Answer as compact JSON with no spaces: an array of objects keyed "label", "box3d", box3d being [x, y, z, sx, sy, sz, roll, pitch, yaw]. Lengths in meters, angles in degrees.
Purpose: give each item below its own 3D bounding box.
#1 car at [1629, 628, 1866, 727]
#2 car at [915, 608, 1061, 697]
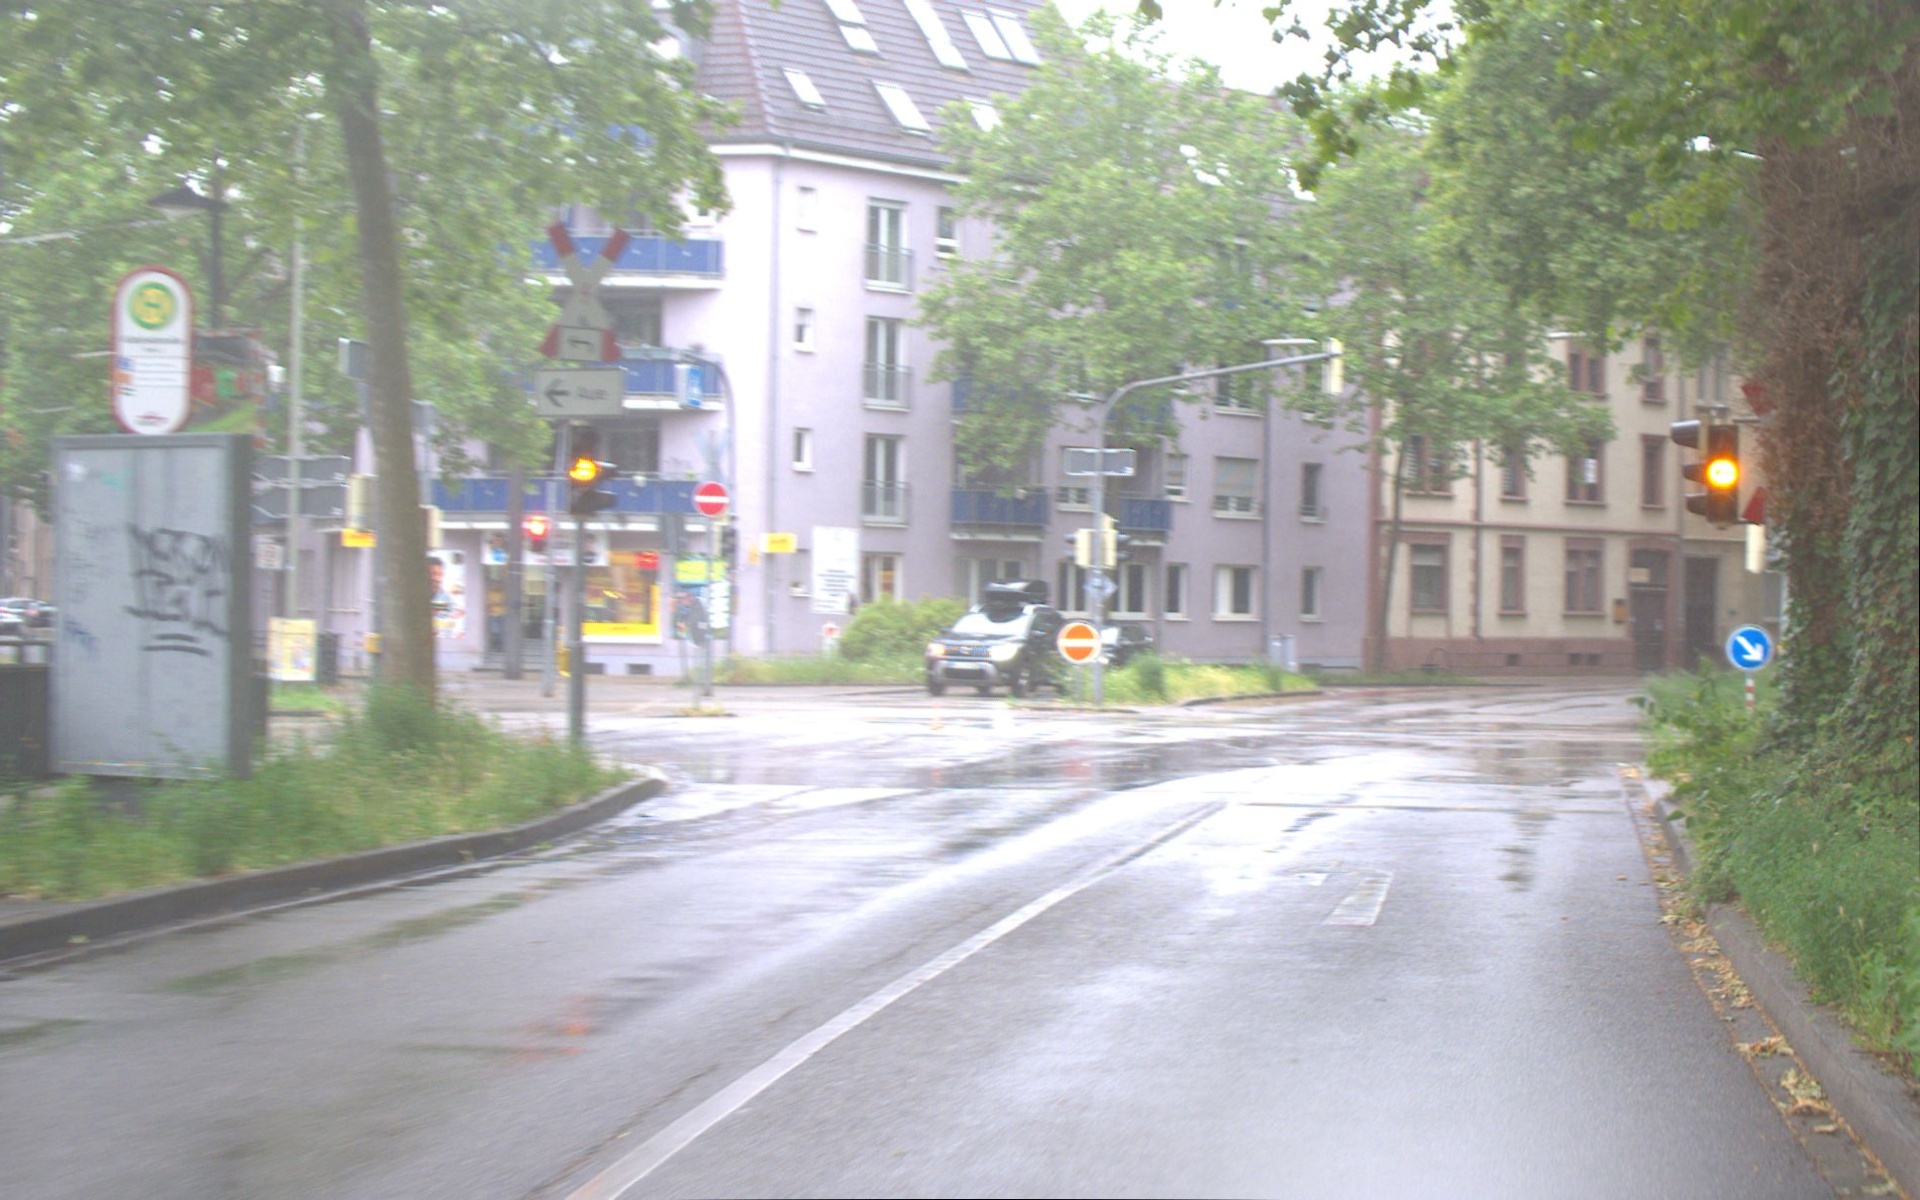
[{"label":"car","box3d":[12.443,1.222,54.281,3.482,1.518,1.518,-1,0,19]},{"label":"car","box3d":[0.544,0.937,62.389,1.726,1.547,3.557,-1,0,16]}]
